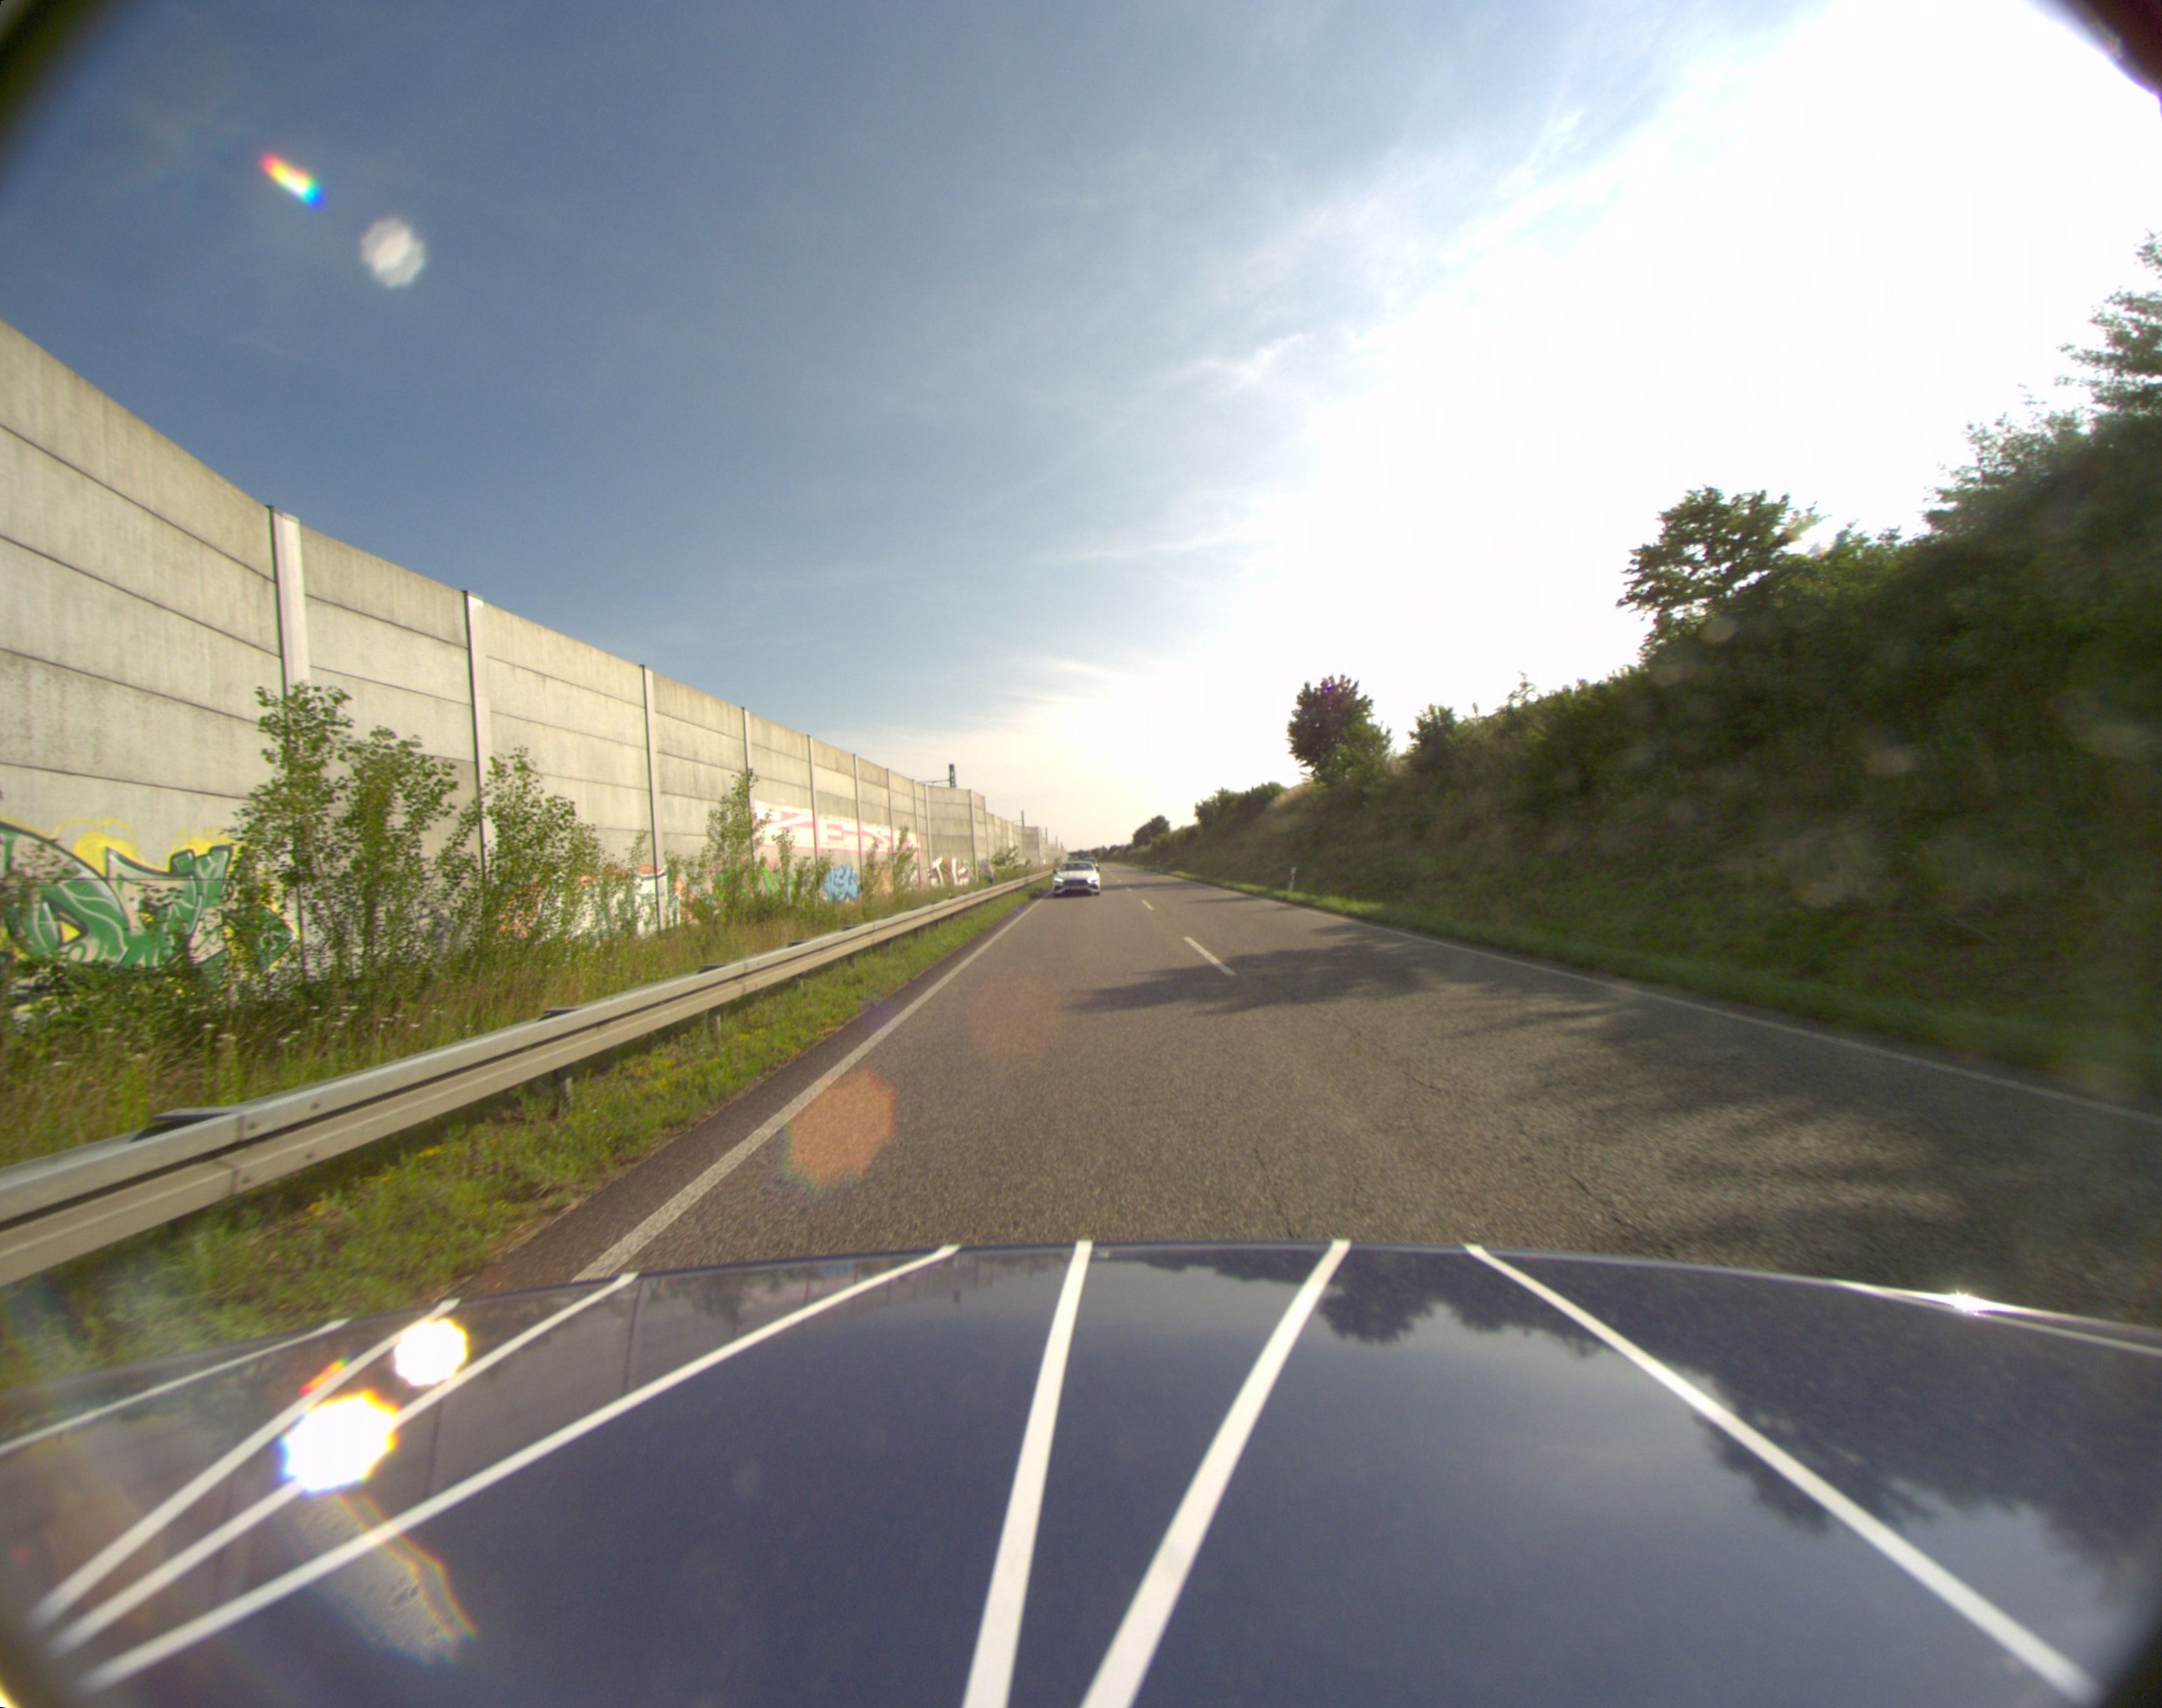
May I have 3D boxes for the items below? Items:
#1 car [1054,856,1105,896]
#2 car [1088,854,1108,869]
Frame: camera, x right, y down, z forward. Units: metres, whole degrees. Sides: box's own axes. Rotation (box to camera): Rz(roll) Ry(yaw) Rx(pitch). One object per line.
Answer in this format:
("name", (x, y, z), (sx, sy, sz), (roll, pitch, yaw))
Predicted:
("car", (-0.136, 0.876, 32.235), (1.930, 1.399, 4.973), (-4, 0, -2))
("car", (1.793, 0.781, 79.005), (1.929, 1.399, 4.974), (-1, 0, 2))
